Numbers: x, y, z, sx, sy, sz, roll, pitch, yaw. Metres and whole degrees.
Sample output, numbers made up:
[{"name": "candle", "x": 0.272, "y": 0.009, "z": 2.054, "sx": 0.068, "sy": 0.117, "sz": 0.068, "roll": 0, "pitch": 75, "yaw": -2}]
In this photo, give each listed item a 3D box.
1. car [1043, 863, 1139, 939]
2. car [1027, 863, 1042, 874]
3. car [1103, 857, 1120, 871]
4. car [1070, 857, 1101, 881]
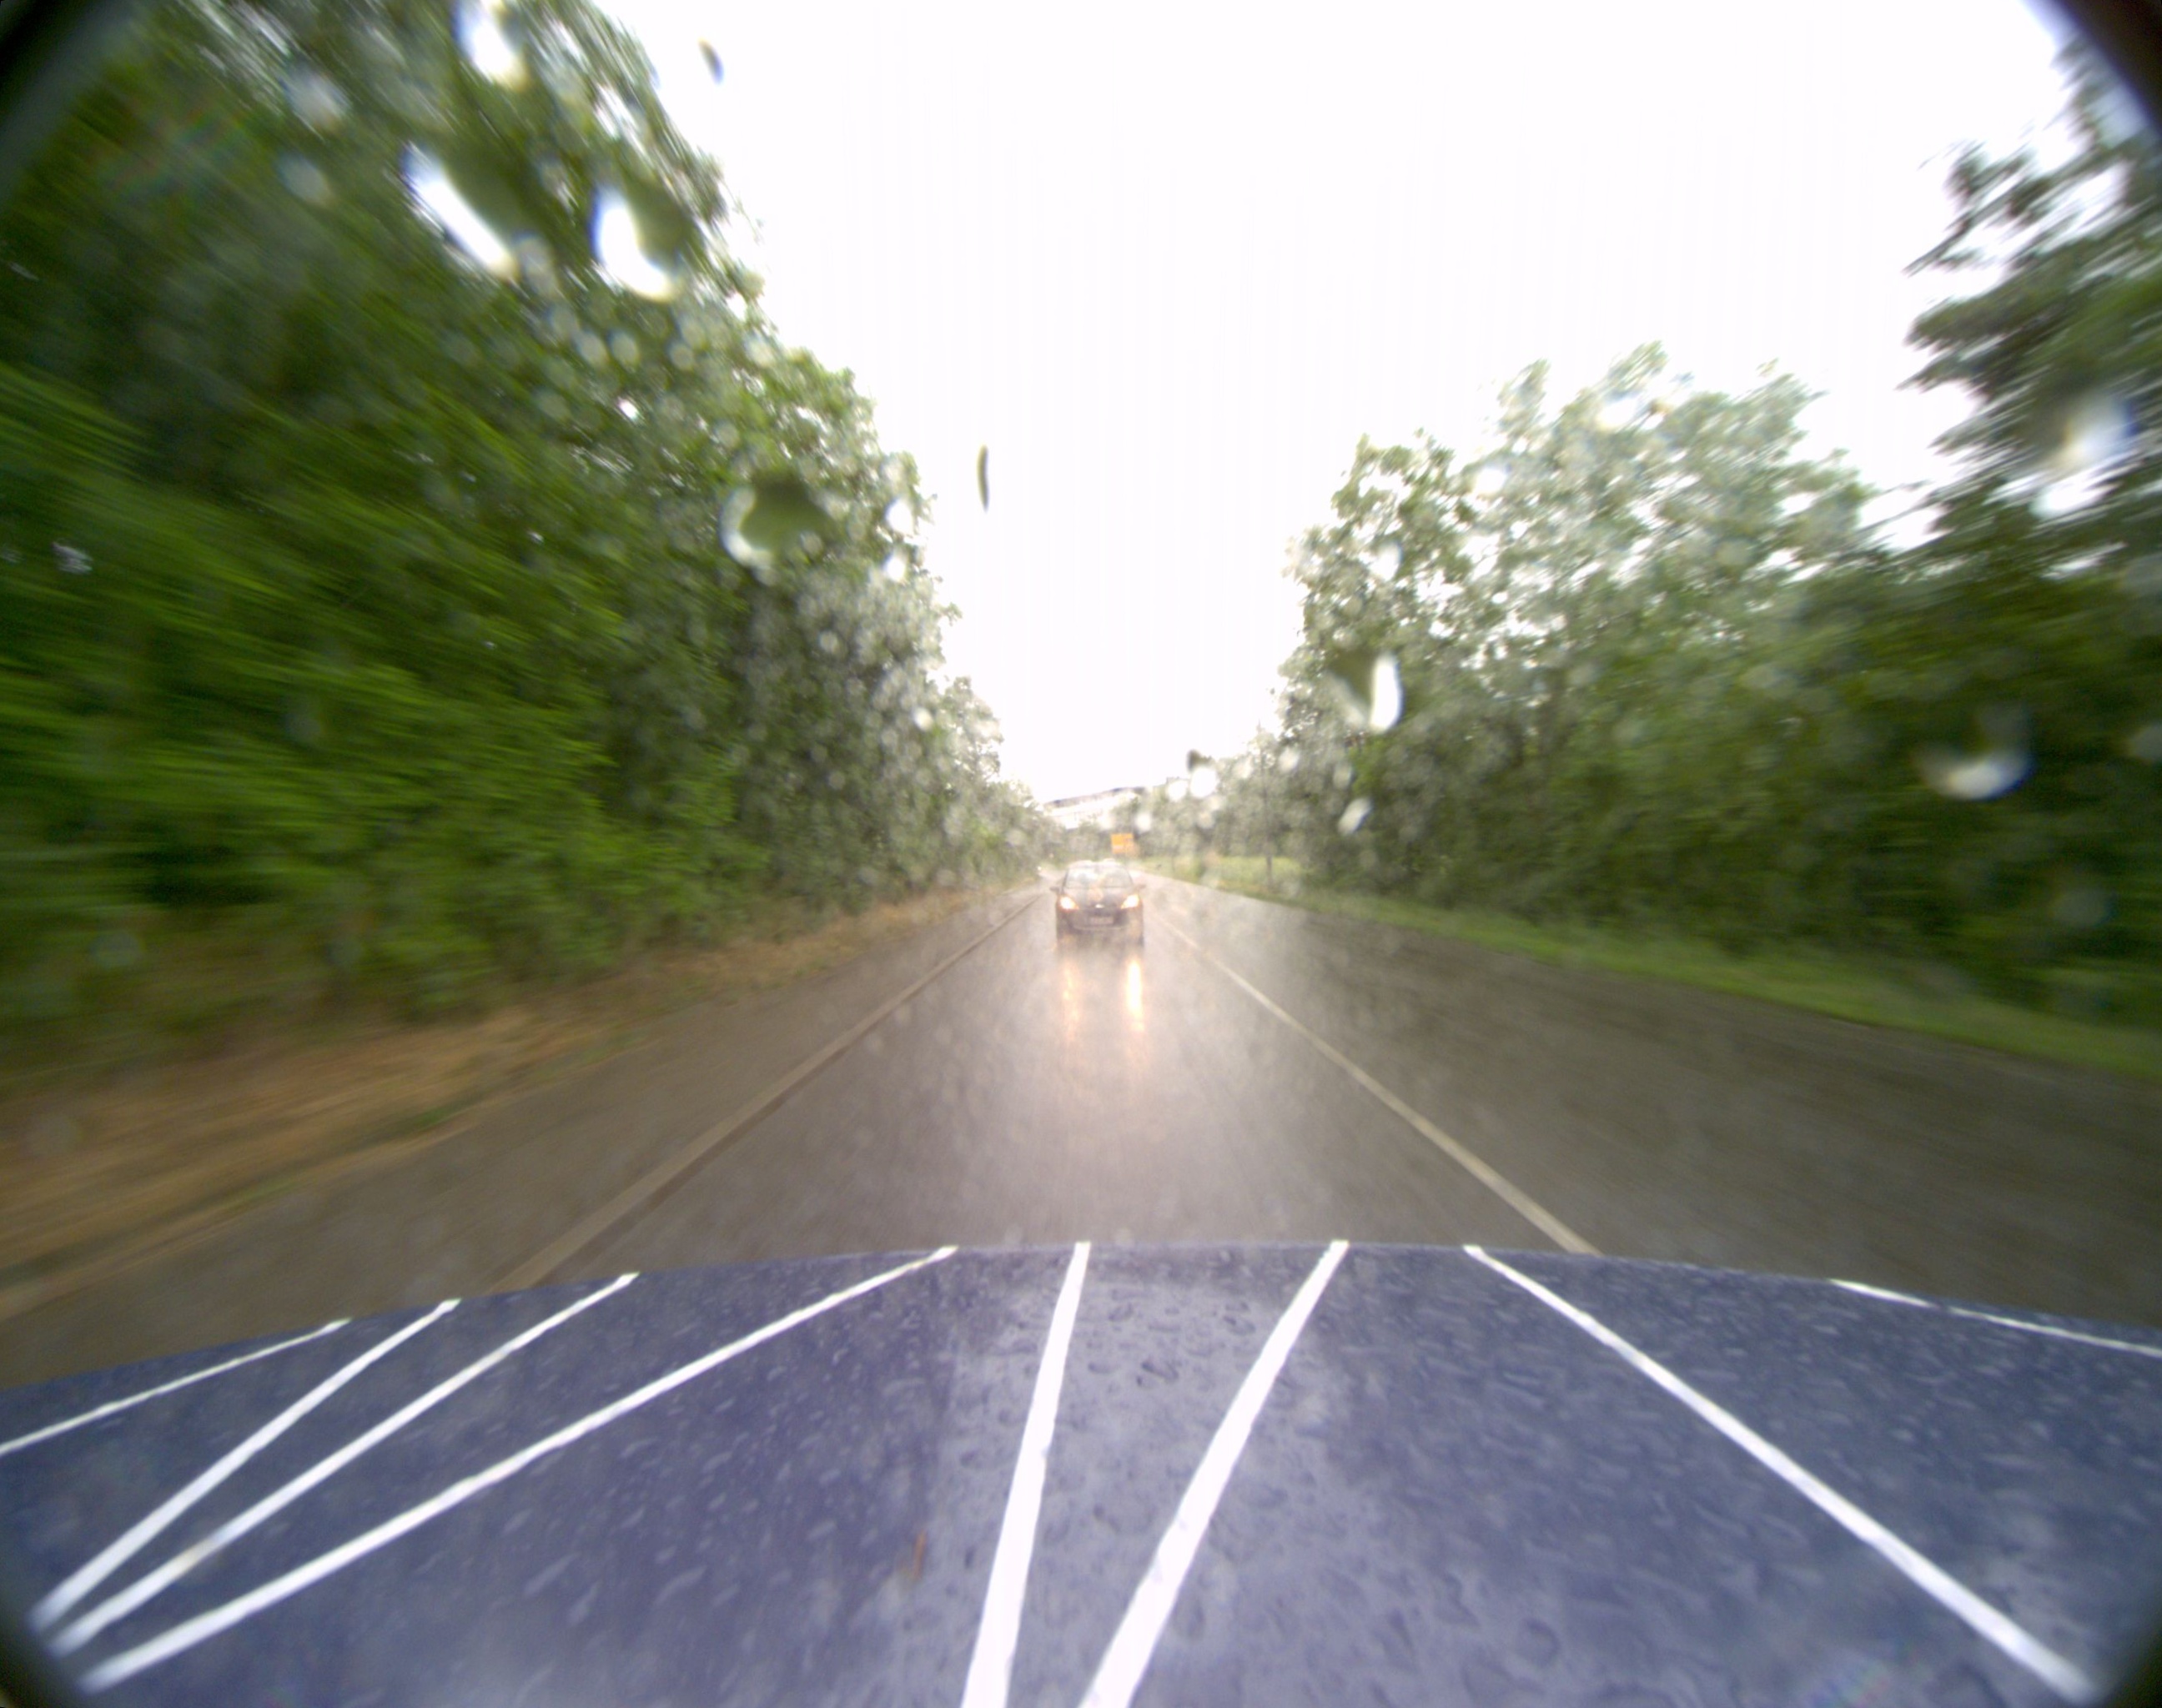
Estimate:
[{"name": "car", "x": 0.150, "y": 0.976, "z": 17.441, "sx": 1.874, "sy": 1.432, "sz": 4.377, "roll": -3, "pitch": 0, "yaw": -1}, {"name": "car", "x": -7.396, "y": 2.280, "z": 120.668, "sx": 1.954, "sy": 1.433, "sz": 4.375, "roll": -5, "pitch": 1, "yaw": -7}, {"name": "car", "x": 3.542, "y": 1.107, "z": 88.065, "sx": 1.643, "sy": 1.480, "sz": 3.453, "roll": -2, "pitch": 0, "yaw": -3}, {"name": "car", "x": 0.257, "y": 0.998, "z": 50.798, "sx": 1.874, "sy": 1.432, "sz": 4.377, "roll": -3, "pitch": 0, "yaw": -1}]
